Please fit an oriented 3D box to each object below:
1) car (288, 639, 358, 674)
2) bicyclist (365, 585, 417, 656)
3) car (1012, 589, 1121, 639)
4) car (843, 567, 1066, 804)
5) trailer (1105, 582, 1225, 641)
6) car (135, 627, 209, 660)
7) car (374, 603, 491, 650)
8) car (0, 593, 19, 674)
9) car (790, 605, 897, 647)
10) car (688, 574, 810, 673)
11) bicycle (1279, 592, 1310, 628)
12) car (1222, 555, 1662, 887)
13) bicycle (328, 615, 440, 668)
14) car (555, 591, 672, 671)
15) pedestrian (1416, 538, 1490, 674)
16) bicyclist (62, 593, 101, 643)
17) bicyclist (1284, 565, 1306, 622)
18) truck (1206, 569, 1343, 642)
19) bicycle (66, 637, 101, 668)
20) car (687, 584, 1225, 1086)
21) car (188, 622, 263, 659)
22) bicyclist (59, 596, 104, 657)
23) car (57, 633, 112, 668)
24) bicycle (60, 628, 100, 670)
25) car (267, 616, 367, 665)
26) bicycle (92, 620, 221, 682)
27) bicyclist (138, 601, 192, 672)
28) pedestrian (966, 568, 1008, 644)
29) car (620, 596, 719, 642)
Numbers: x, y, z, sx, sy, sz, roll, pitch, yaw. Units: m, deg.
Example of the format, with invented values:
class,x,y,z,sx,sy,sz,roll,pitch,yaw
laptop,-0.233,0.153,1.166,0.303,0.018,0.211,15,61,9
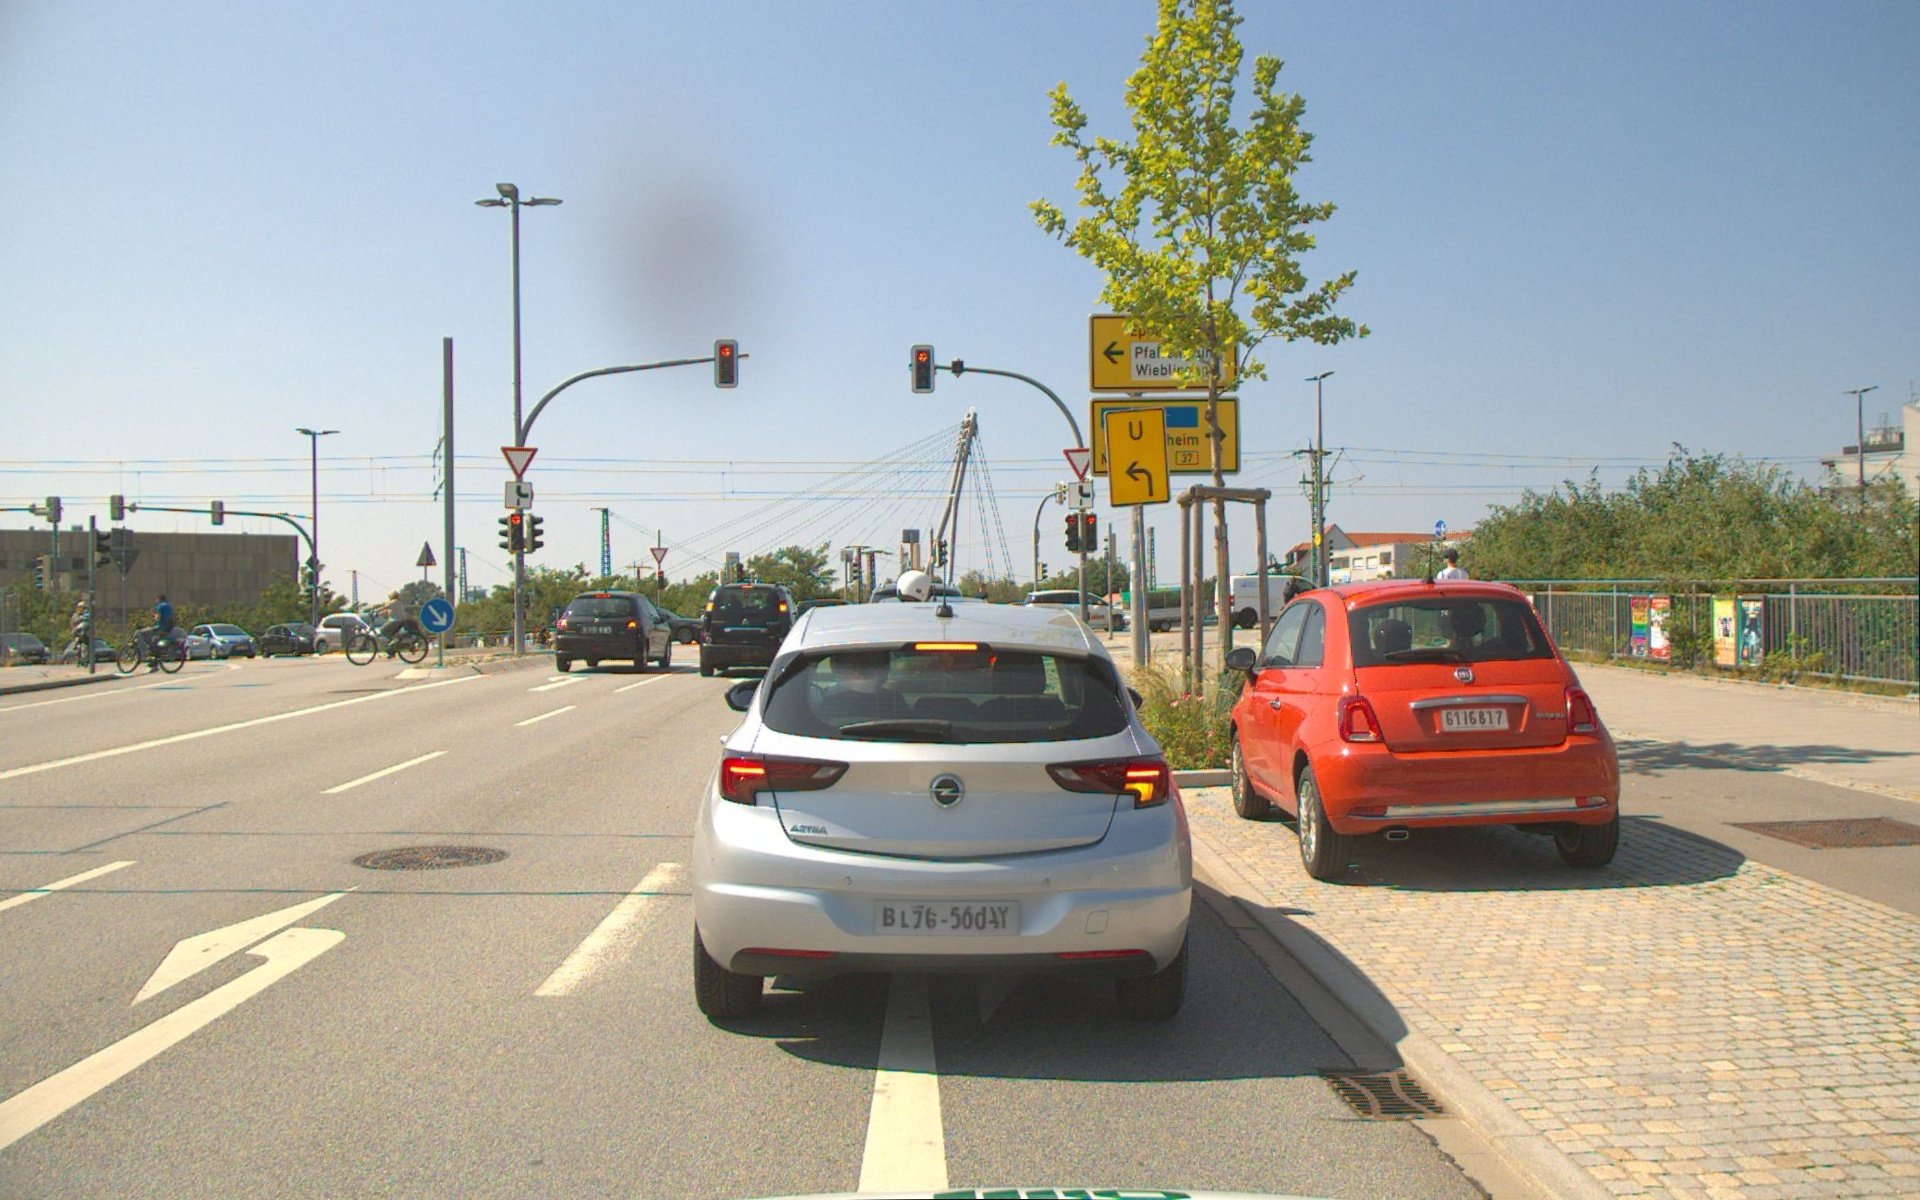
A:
class,x,y,z,sx,sy,sz,roll,pitch,yaw
car,-24.502,2.174,63.620,2.429,1.262,1.277,0,-1,29
bicyclist,-13.119,0.481,38.142,0.927,1.596,0.822,1,-1,-5
car,4.078,0.553,63.562,3.910,1.815,1.997,1,-1,-6
car,-0.089,0.651,14.057,1.602,1.703,3.743,1,-1,-2
trailer,7.522,0.421,60.819,3.919,2.049,1.993,1,-1,-14
car,-38.755,2.113,81.294,1.985,1.481,4.413,2,-1,-44
car,-19.857,0.997,62.328,3.735,1.657,1.858,1,-1,6
car,-25.668,0.840,43.325,1.653,2.049,3.958,2,-1,-31
car,-4.170,0.929,59.677,3.697,1.414,1.666,1,-1,0
car,-3.758,0.429,30.025,1.767,1.650,3.915,1,-1,-1
bicycle,11.275,0.327,55.741,0.542,1.198,2.086,0,-1,25
car,2.666,0.580,10.051,1.635,1.566,3.918,-2,0,2
bicycle,-13.260,0.956,38.108,2.312,1.147,0.676,1,-1,-6
car,-6.399,0.566,30.817,1.555,1.419,3.338,0,-1,-2
pedestrian,6.920,0.091,23.247,0.743,1.862,0.884,1,-1,-1
bicyclist,-21.298,0.442,40.099,0.722,1.196,0.650,2,-1,-36
bicyclist,11.257,-0.213,55.611,0.621,1.920,0.596,0,-1,22
truck,11.748,0.211,61.884,4.614,2.585,1.993,1,-1,-14
bicycle,-21.265,1.266,40.109,0.510,0.704,2.226,1,-1,-34
car,-0.059,0.732,7.263,1.656,1.546,4.269,0,0,-1
car,-30.667,1.696,69.042,3.093,1.464,1.579,1,-1,38
bicyclist,-22.621,0.683,42.588,0.826,1.528,0.657,1,-1,-12
car,-47.625,2.740,89.895,1.703,1.771,4.148,2,-1,-41
bicycle,-22.621,1.237,42.530,0.595,1.025,2.496,0,0,-21
car,-27.935,1.726,71.812,3.911,2.049,1.997,0,-1,29
bicycle,-18.349,1.160,37.824,2.475,1.153,0.728,-5,2,-4
bicyclist,-18.177,0.821,37.844,0.806,1.587,0.862,1,-1,-3
pedestrian,0.695,0.156,42.025,0.736,1.896,0.742,2,-1,-42
car,-11.055,0.719,63.150,3.436,1.669,1.800,1,-1,-2
